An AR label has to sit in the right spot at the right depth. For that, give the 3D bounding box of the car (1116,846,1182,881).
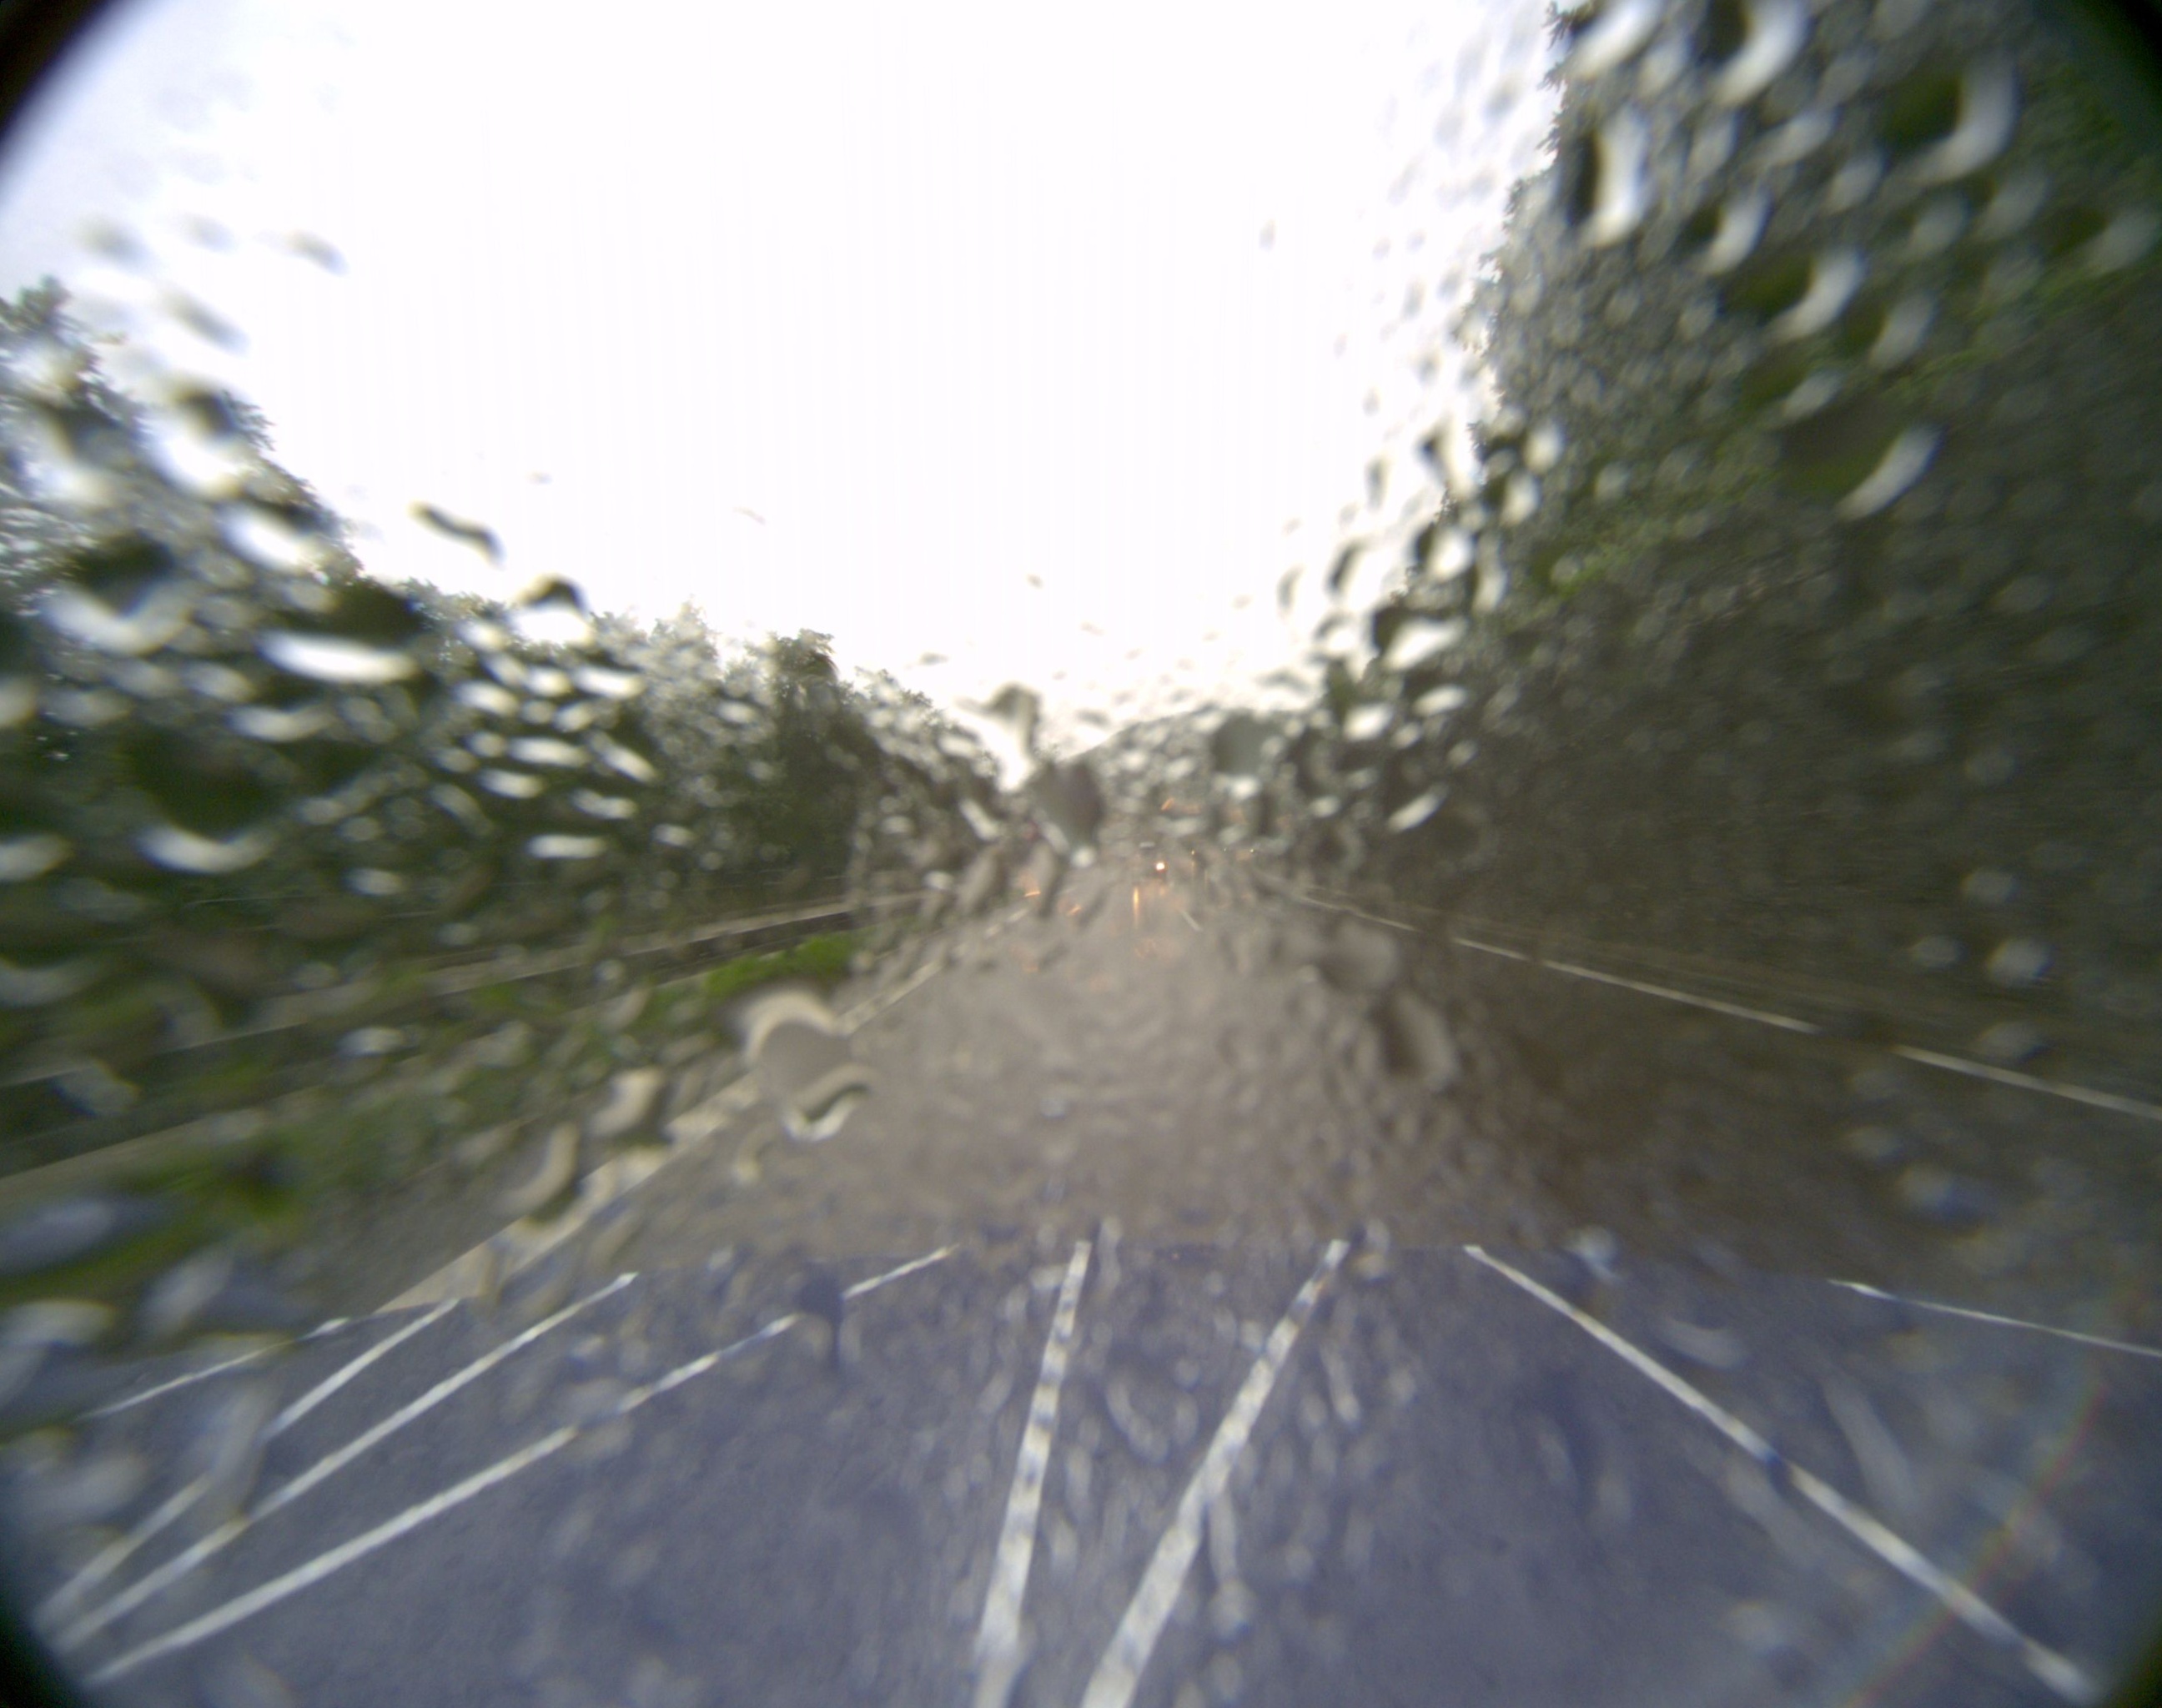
[{"bbox_3d":[3.532,0.430,38.473,2.357,1.549,5.504,-1,1,15],"label":"car"}]

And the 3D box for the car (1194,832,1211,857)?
[{"bbox_3d":[15.557,-1.233,97.436,1.740,3.008,4.004,-2,1,14],"label":"car"}]

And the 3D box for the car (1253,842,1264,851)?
[{"bbox_3d":[34.190,-1.368,146.447,1.735,1.656,3.871,-2,1,19],"label":"car"}]
